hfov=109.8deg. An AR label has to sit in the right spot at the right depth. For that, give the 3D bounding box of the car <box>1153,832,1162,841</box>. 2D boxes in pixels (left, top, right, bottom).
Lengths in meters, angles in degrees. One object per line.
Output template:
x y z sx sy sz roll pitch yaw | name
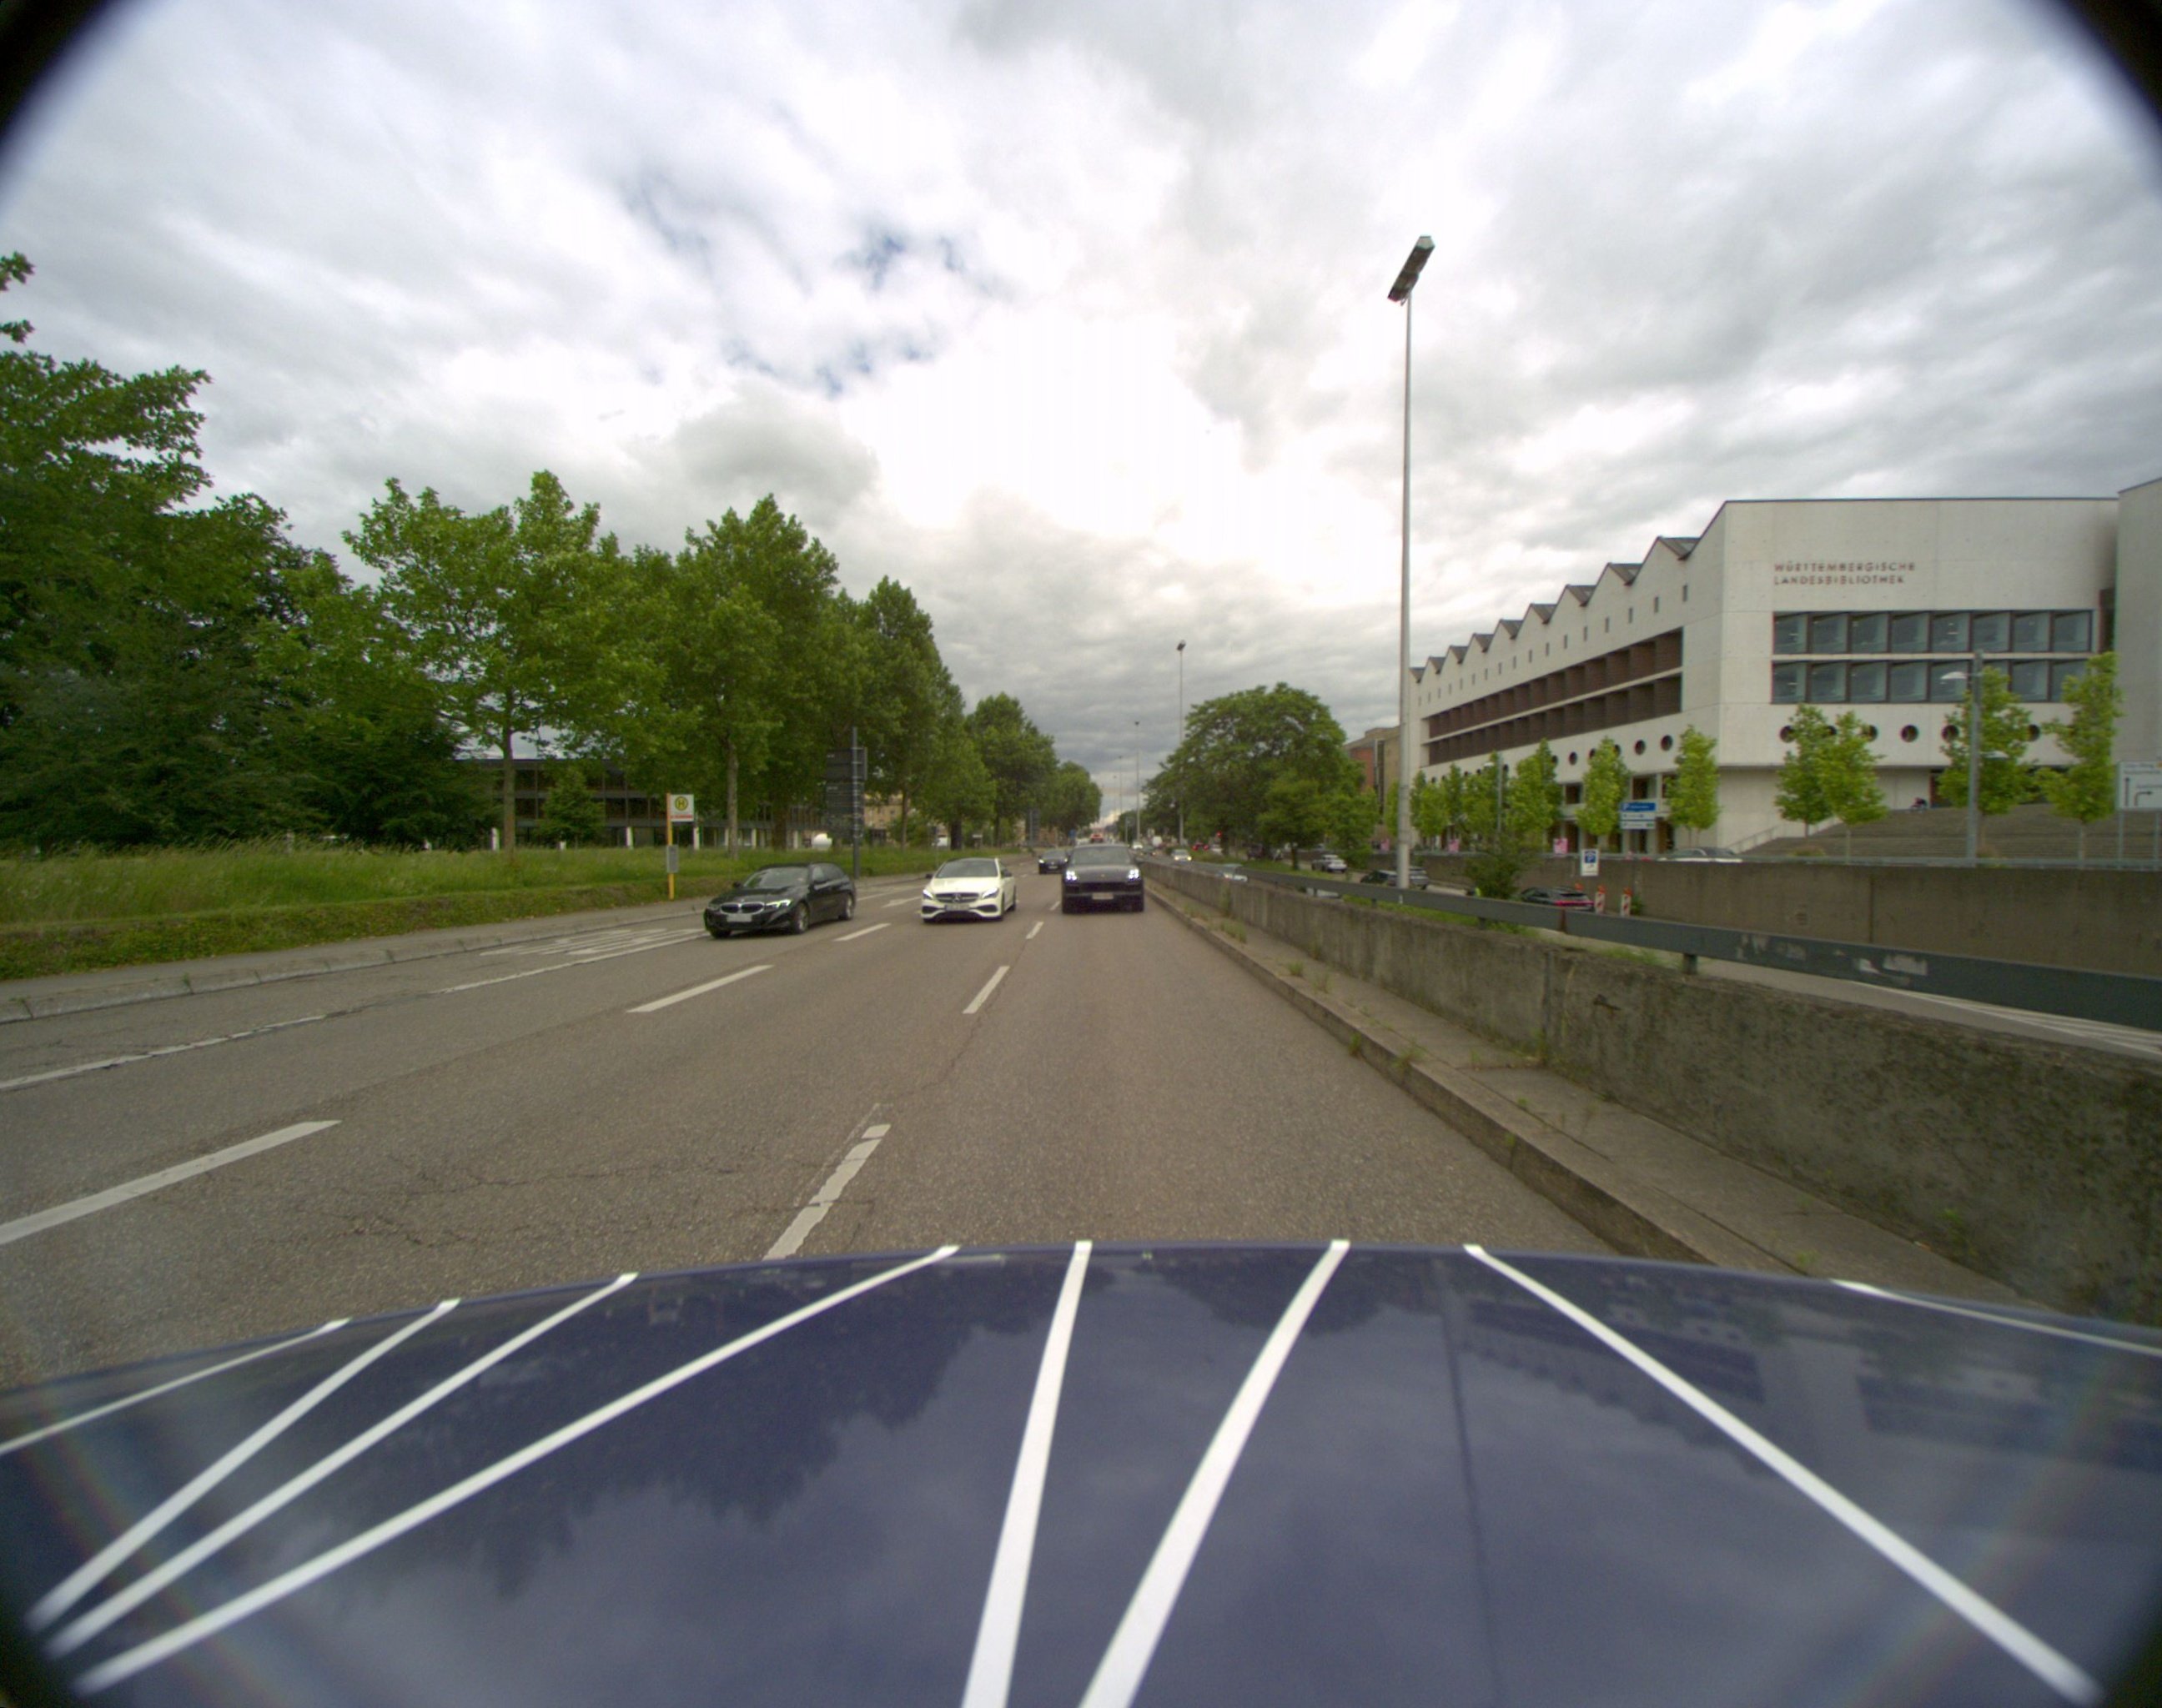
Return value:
16.760 -3.817 166.193 1.609 1.844 3.999 -2 2 1 | car

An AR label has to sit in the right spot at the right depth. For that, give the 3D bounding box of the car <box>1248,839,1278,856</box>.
20.187 -0.703 84.451 2.161 1.636 4.515 2 3 -1 | car

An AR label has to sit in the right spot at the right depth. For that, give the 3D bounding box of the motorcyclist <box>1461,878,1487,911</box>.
17.559 1.805 33.961 0.671 1.345 0.717 3 4 -1 | motorcyclist

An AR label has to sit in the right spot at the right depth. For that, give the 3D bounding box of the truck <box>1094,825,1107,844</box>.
3.765 -3.808 149.944 2.357 3.518 9.423 -2 2 2 | truck

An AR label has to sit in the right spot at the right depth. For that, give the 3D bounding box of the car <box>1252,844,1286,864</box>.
17.331 -0.007 70.194 1.998 1.665 4.516 2 1 0 | car

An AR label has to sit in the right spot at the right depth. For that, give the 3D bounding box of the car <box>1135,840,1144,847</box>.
11.286 -2.033 146.005 1.372 1.390 3.721 2 1 0 | car

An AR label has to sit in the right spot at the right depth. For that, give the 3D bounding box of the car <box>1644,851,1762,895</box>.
28.062 0.797 34.477 1.998 1.753 3.999 2 1 0 | car

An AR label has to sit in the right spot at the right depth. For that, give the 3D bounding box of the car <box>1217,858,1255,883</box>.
9.899 1.026 48.693 1.559 1.406 4.091 -1 1 0 | car

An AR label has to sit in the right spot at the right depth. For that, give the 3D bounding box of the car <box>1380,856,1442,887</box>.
20.892 1.071 48.362 1.875 1.604 4.387 1 4 -2 | car

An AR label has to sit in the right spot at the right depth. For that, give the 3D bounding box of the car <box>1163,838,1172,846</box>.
17.104 -2.433 150.384 1.500 1.429 3.474 -2 2 1 | car

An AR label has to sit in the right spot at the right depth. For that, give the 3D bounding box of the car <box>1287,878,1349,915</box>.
10.906 1.911 35.238 1.559 1.406 4.091 -1 1 0 | car

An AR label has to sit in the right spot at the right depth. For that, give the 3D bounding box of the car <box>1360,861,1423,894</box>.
17.479 1.291 42.945 1.779 1.481 4.143 1 4 -1 | car

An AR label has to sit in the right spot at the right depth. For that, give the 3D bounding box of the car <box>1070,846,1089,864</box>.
-0.148 0.069 85.488 2.021 1.823 4.804 -1 1 2 | car

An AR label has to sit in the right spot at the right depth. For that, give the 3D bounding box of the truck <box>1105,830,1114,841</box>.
9.166 -6.068 244.980 2.576 3.288 8.079 -2 2 2 | truck

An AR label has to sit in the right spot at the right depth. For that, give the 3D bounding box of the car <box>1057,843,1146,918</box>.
0.566 0.550 18.929 1.904 1.581 4.732 -1 1 3 | car

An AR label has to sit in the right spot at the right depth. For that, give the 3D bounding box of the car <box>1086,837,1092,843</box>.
2.417 -4.399 240.137 1.693 2.002 3.999 -2 2 2 | car

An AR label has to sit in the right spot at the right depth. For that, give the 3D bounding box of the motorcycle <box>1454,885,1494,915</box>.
17.541 2.040 33.961 0.687 1.092 2.049 3 4 0 | motorcycle

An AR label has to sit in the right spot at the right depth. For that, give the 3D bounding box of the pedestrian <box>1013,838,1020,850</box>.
-10.421 -1.615 122.404 0.892 2.002 1.181 -2 2 1 | pedestrian

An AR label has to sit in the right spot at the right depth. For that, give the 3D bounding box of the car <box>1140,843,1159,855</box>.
8.223 -0.584 91.489 1.787 1.406 4.091 -1 1 0 | car

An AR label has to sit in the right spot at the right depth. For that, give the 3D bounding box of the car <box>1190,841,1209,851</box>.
16.584 -1.128 106.081 1.998 1.390 3.999 2 1 0 | car

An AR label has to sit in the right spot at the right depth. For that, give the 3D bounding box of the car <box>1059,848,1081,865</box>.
-0.963 0.176 67.729 1.805 1.426 4.015 -1 1 2 | car

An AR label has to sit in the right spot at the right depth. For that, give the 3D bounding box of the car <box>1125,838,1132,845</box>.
10.668 -2.793 171.086 1.372 1.390 3.721 2 1 0 | car

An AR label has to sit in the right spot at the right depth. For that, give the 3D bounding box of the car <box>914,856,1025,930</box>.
-2.506 0.825 18.155 1.799 1.412 4.527 -1 1 2 | car

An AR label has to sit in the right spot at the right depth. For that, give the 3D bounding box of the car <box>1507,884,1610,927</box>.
20.446 2.162 32.763 1.810 1.321 4.002 1 4 -1 | car

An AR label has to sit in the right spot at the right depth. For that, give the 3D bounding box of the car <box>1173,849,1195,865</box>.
10.150 0.275 75.071 1.657 1.406 4.091 -1 1 0 | car

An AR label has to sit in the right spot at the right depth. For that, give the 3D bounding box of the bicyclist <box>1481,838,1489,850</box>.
37.805 -0.948 71.093 0.403 1.154 0.643 -2 2 -1 | bicyclist

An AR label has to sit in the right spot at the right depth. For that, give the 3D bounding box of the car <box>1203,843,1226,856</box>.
16.265 -0.579 92.677 1.998 1.390 3.999 2 1 0 | car

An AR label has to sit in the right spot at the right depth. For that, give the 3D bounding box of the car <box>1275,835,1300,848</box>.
28.202 -1.704 103.835 1.955 1.619 4.489 -1 1 -3 | car

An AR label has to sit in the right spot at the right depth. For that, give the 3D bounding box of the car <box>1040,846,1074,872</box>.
-1.417 0.289 47.097 1.852 1.481 4.092 -1 1 2 | car

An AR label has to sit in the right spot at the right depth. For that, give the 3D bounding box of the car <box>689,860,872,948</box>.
-6.297 0.959 16.593 1.936 1.451 4.526 -2 2 3 | car

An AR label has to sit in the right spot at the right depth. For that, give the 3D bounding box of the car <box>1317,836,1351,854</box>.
25.470 -0.926 76.692 1.998 1.753 3.999 2 1 0 | car
